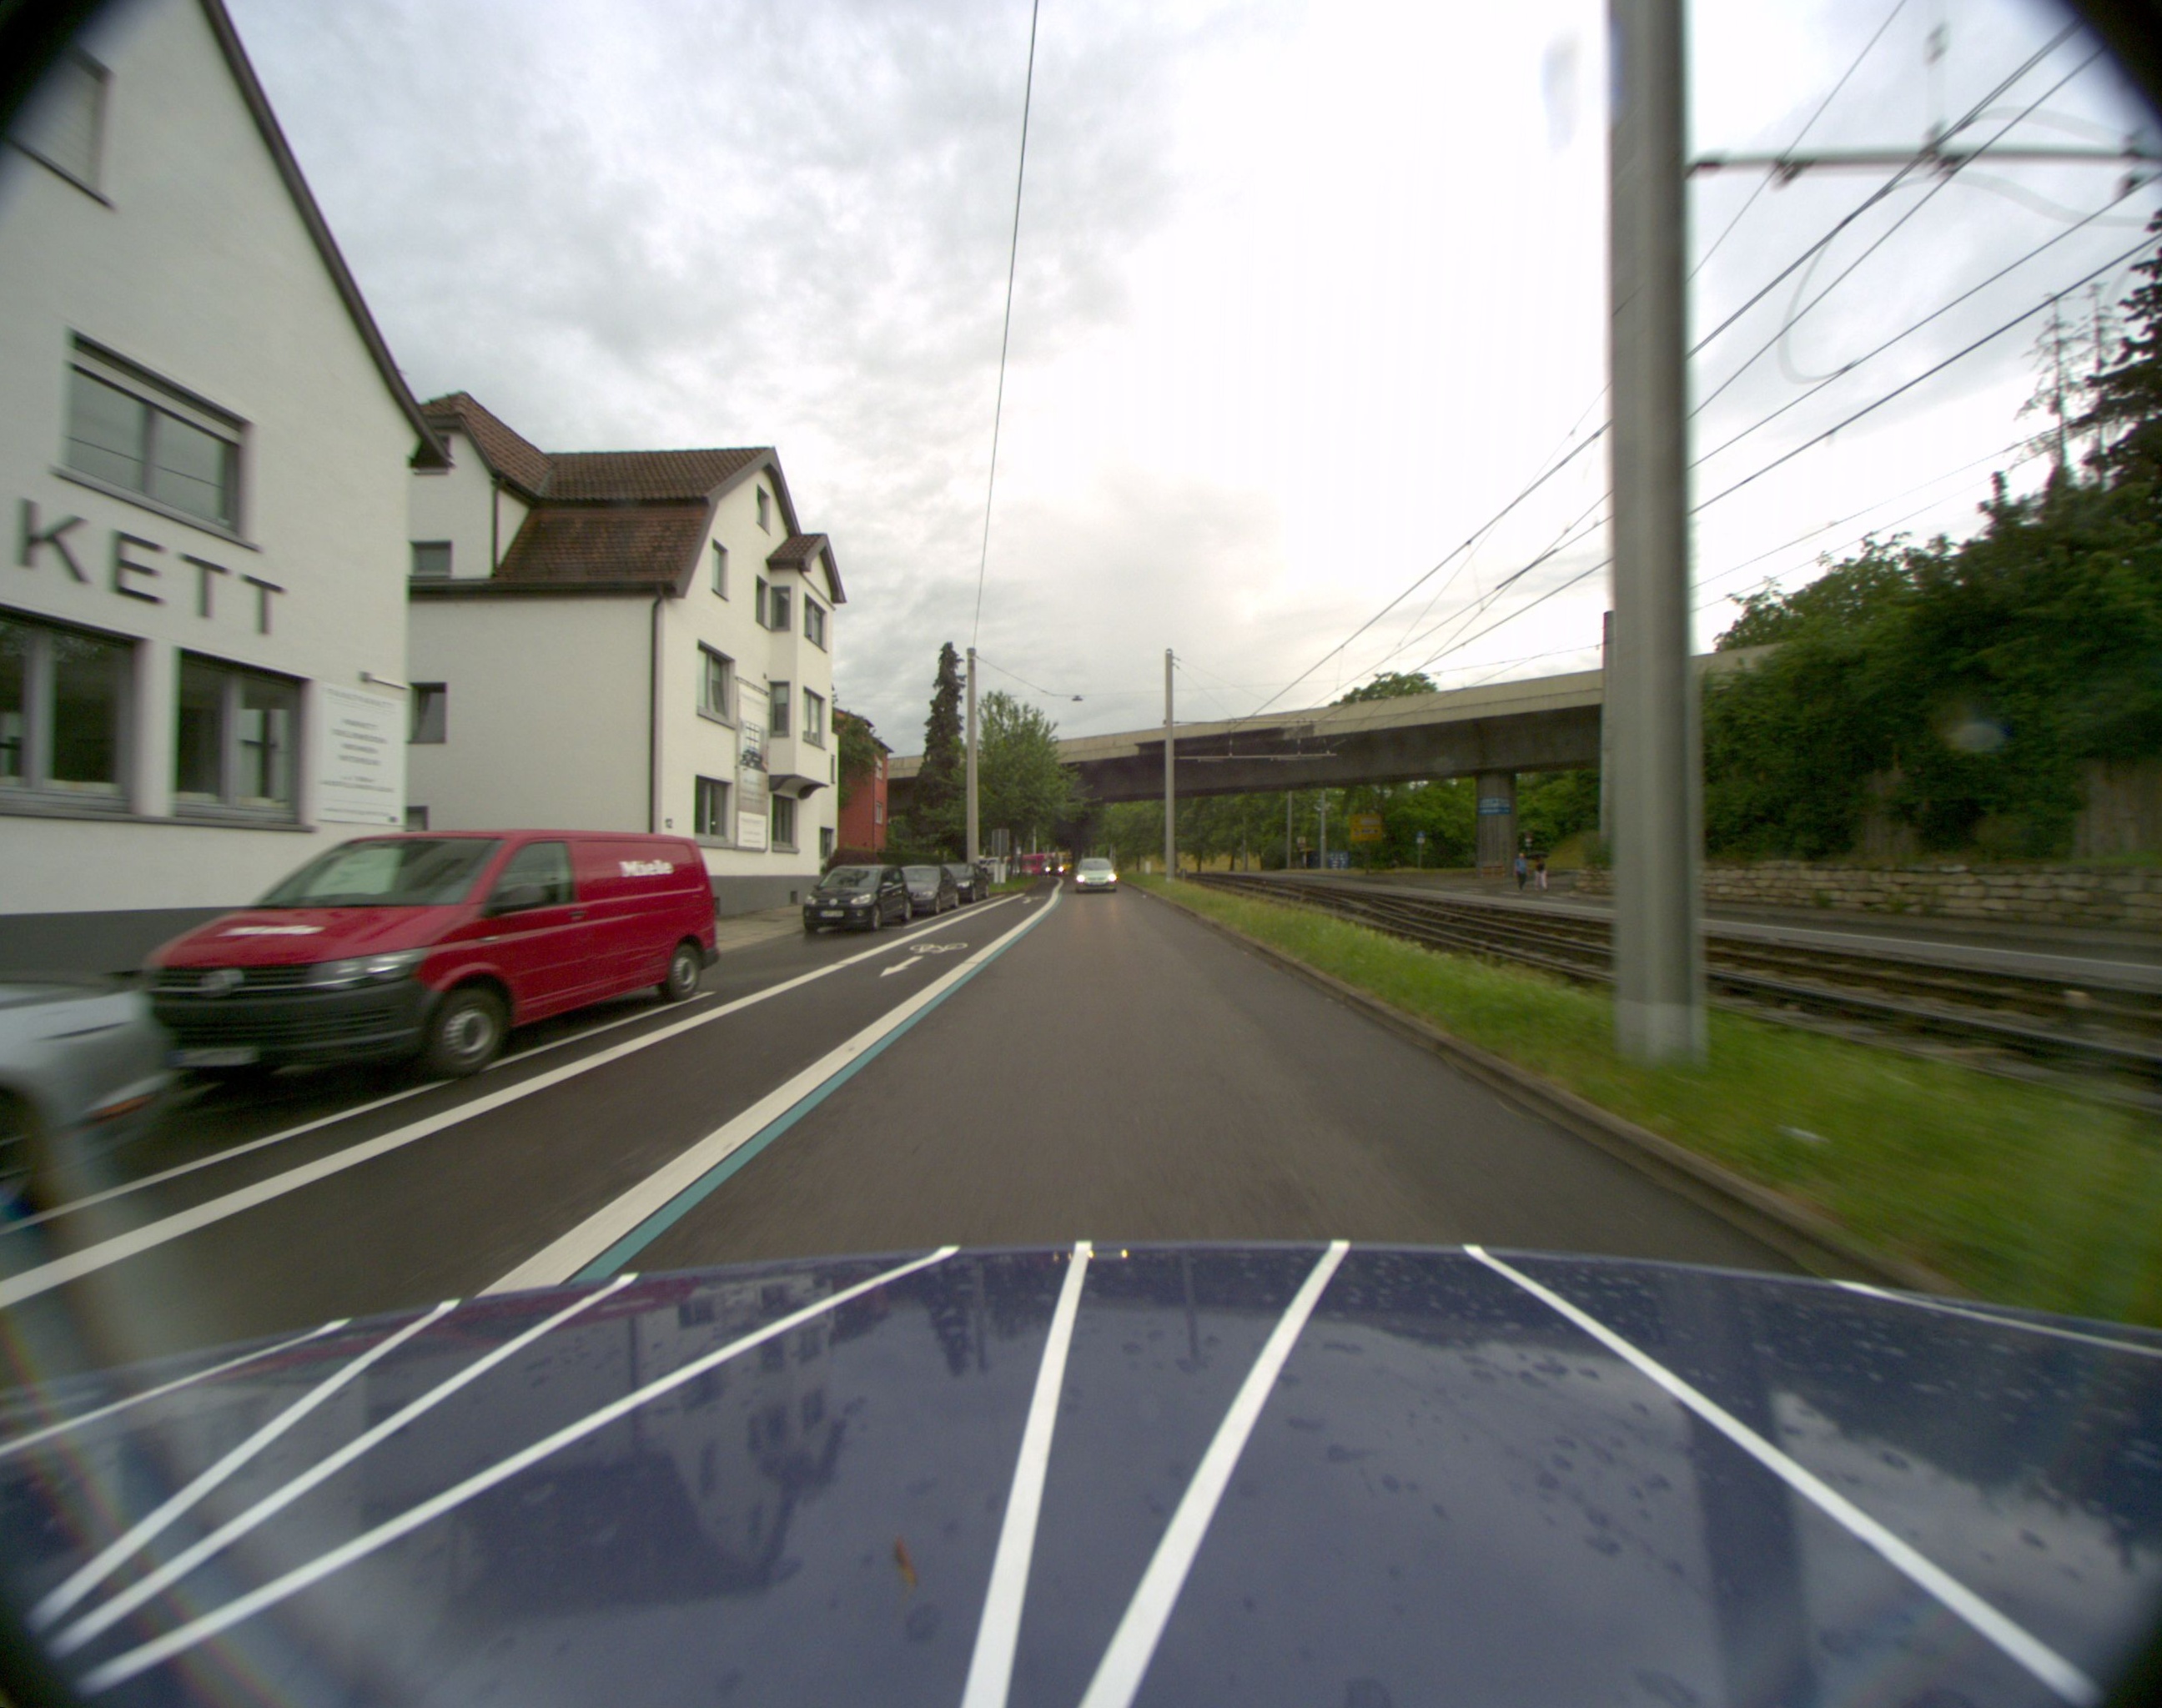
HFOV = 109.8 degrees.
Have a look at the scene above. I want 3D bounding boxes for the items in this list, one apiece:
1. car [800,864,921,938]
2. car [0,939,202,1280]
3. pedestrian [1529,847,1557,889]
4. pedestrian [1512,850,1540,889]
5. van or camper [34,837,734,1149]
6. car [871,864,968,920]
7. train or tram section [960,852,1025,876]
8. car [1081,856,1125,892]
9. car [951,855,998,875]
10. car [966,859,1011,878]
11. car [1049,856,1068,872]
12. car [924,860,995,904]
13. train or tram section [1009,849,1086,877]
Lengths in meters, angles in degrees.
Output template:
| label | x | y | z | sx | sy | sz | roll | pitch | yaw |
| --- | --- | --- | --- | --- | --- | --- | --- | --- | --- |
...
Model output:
| label | x | y | z | sx | sy | sz | roll | pitch | yaw |
| --- | --- | --- | --- | --- | --- | --- | --- | --- | --- |
| car | -5.112 | 1.026 | 18.093 | 1.581 | 1.443 | 3.720 | 0 | 1 | 3 |
| car | -5.604 | 1.147 | 1.636 | 1.800 | 1.368 | 4.671 | -1 | 0 | 4 |
| pedestrian | 20.521 | 0.609 | 33.753 | 0.695 | 1.820 | 0.867 | -2 | 0 | 1 |
| pedestrian | 19.649 | 0.687 | 33.572 | 0.695 | 1.660 | 0.888 | -2 | 0 | 4 |
| van or camper | -5.417 | 0.846 | 7.152 | 1.855 | 1.909 | 4.995 | 0 | 0 | 2 |
| car | -4.707 | 1.063 | 22.798 | 1.716 | 1.404 | 4.566 | -1 | 0 | 3 |
| train or tram section | -15.891 | 1.814 | 133.761 | 2.882 | 3.947 | 19.283 | -3 | 0 | -33 |
| car | 1.037 | 0.882 | 33.604 | 1.780 | 1.492 | 4.002 | 0 | -1 | 4 |
| car | -9.267 | 0.947 | 66.160 | 1.962 | 1.621 | 4.032 | -2 | -1 | 30 |
| car | -7.748 | 1.213 | 63.952 | 1.798 | 1.513 | 3.743 | -2 | -1 | 30 |
| car | -2.240 | 0.952 | 75.156 | 1.781 | 1.493 | 3.998 | 0 | 0 | -4 |
| car | -4.475 | 1.003 | 28.654 | 1.681 | 1.414 | 4.566 | -1 | 0 | 3 |
| train or tram section | -5.580 | 1.461 | 117.350 | 2.881 | 3.937 | 19.286 | -3 | 0 | -31 |
